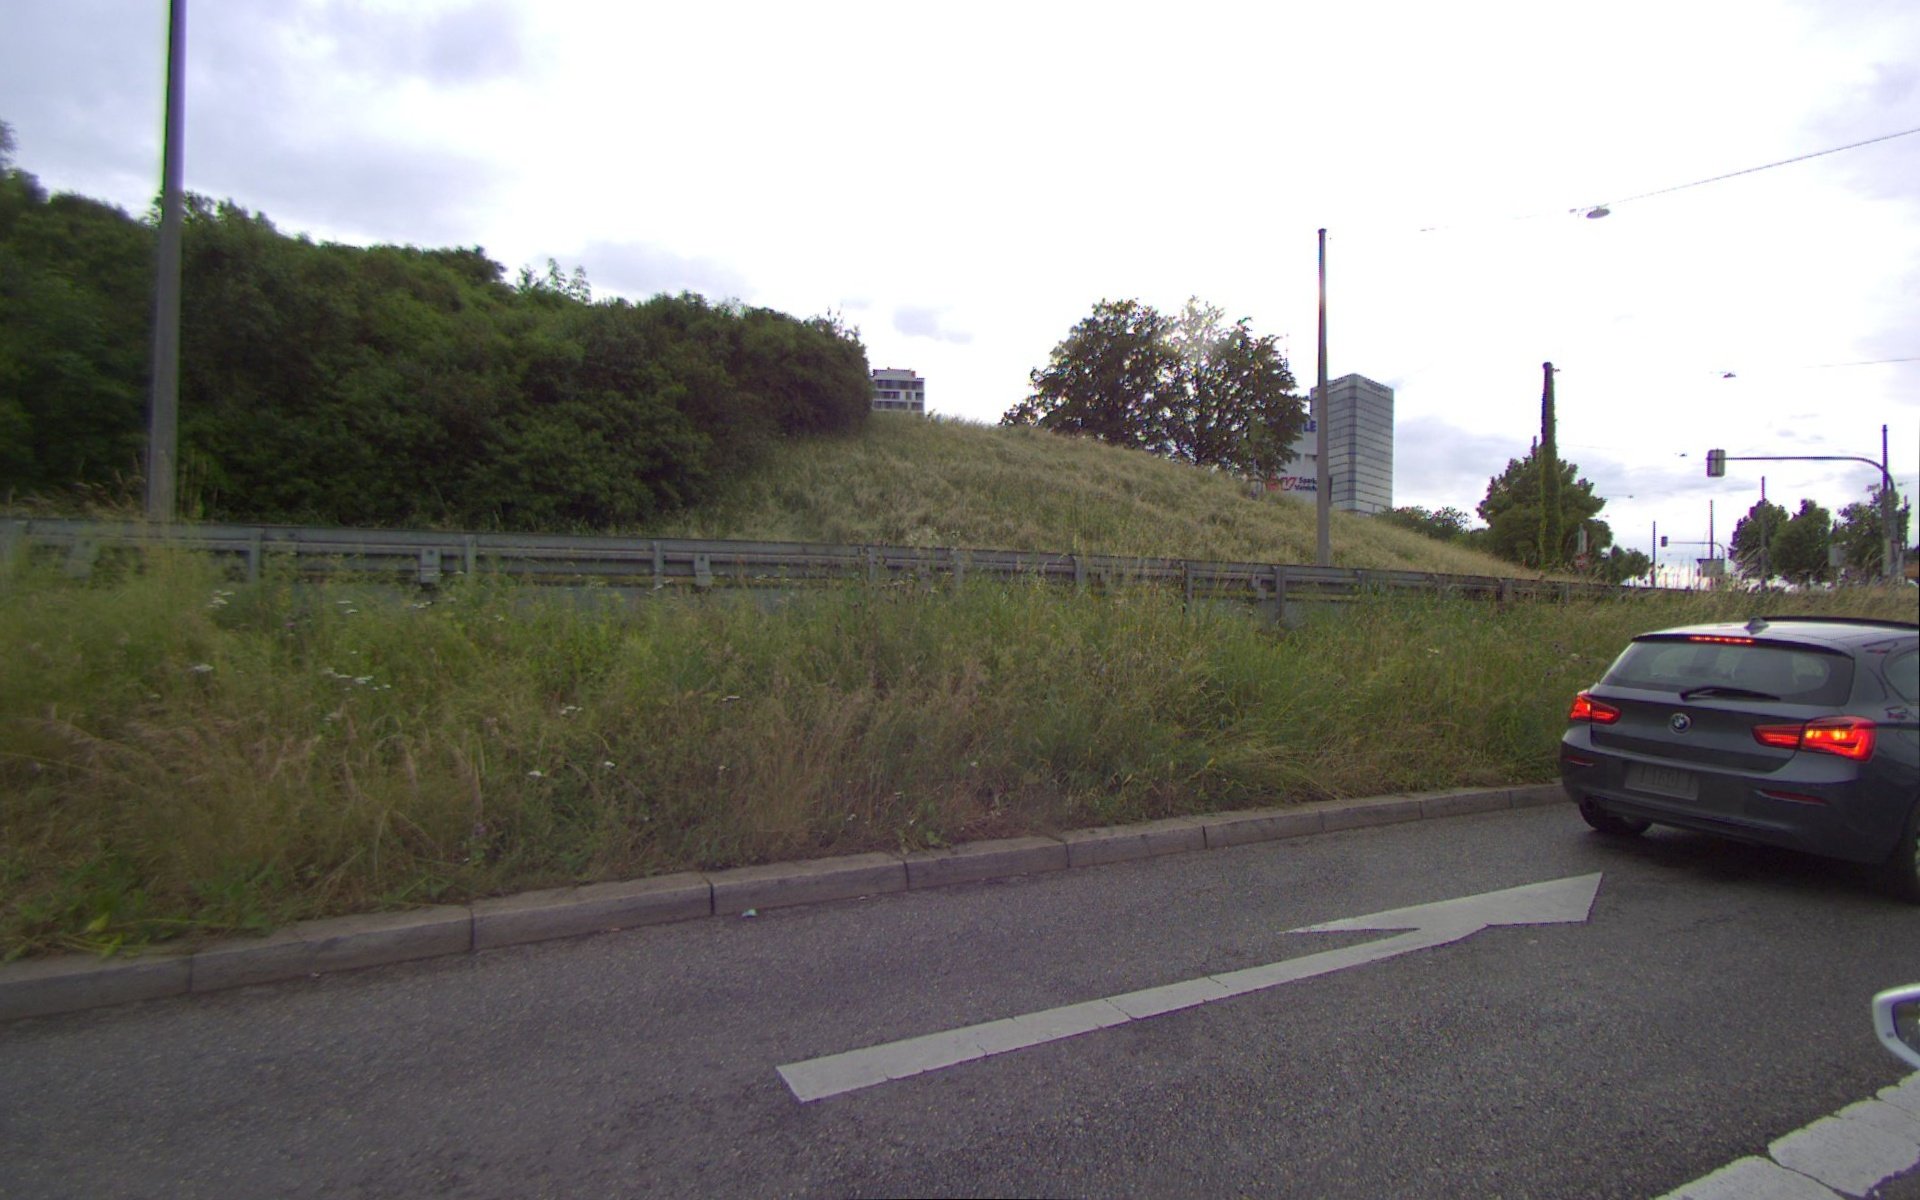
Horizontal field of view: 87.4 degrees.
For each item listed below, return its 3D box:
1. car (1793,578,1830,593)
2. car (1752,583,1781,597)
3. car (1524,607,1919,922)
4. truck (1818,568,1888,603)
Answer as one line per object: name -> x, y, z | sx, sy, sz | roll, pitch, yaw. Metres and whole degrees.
car -> 97.014, -1.617, 114.522 | 1.962, 1.682, 4.541 | 2, 1, 25
car -> 107.339, -1.269, 133.673 | 1.963, 1.681, 4.540 | 2, 0, 26
car -> 5.730, 0.857, 6.466 | 4.062, 1.479, 1.696 | 2, -1, -27
truck -> 87.758, -1.453, 98.846 | 3.206, 3.116, 6.171 | 4, 3, 24
